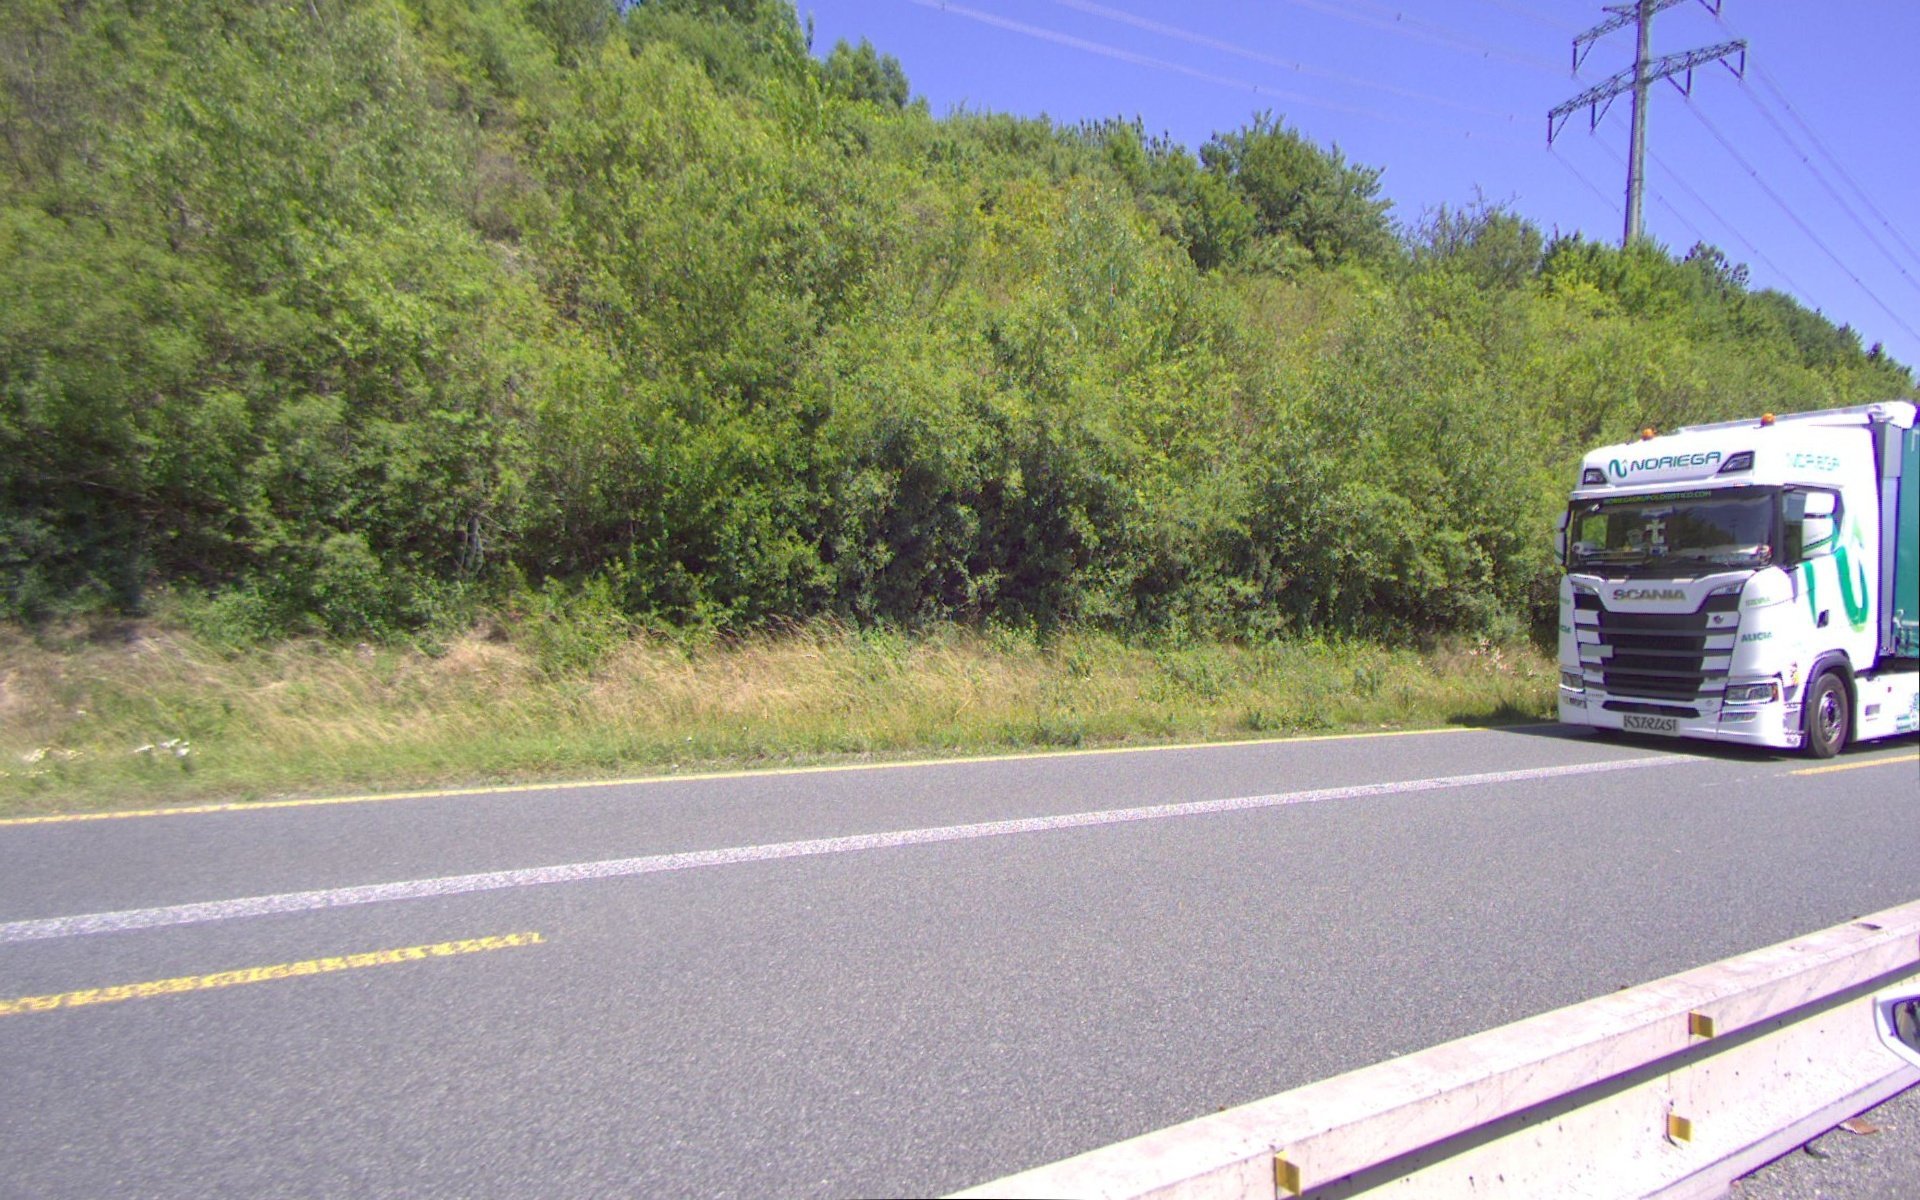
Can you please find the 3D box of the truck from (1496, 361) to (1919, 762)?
[{"bbox_3d":[10.220,-0.327,13.198,5.949,4.173,2.881,1,-1,-30],"label":"truck"}]

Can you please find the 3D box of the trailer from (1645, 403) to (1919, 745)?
[{"bbox_3d":[16.508,-0.171,16.816,13.087,4.180,2.878,2,0,-30],"label":"trailer"}]
